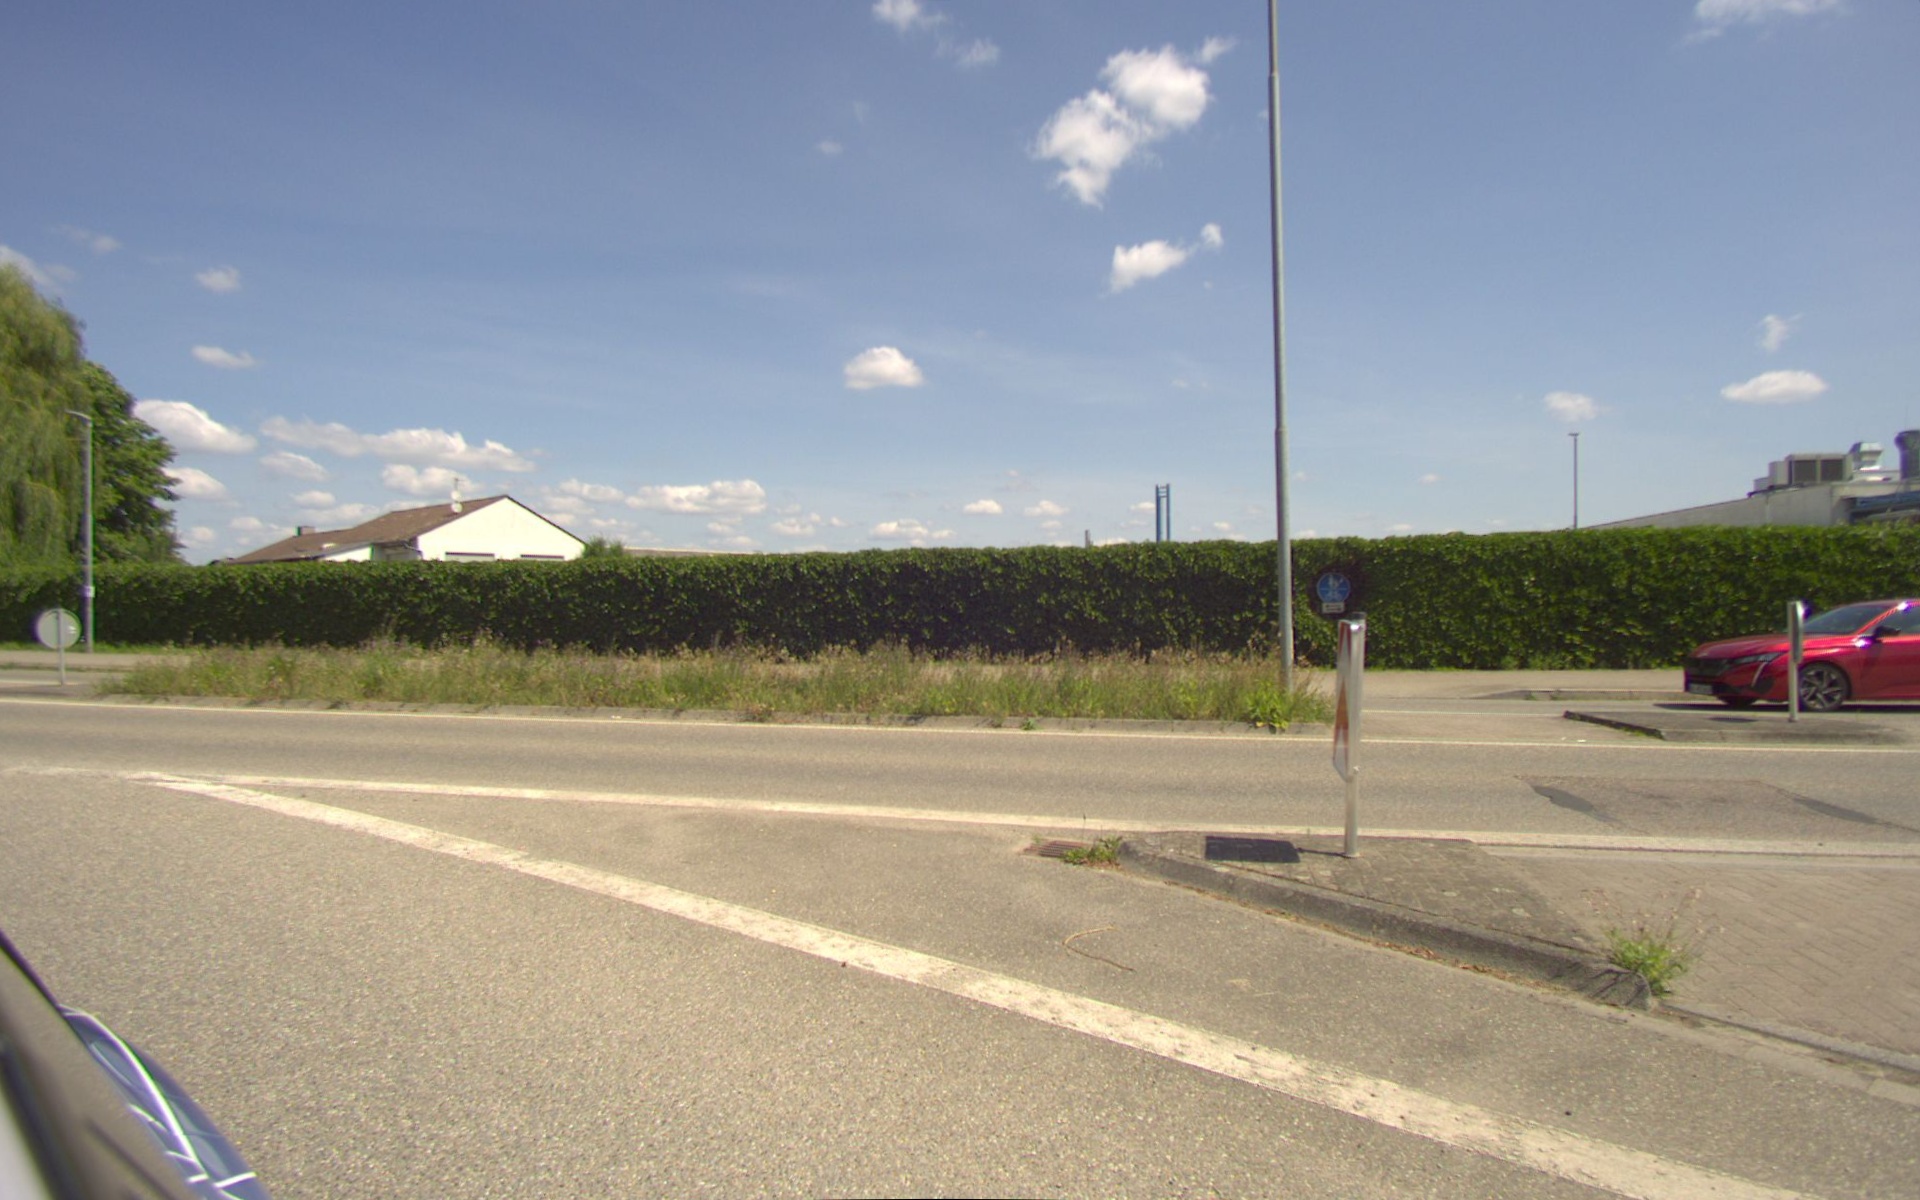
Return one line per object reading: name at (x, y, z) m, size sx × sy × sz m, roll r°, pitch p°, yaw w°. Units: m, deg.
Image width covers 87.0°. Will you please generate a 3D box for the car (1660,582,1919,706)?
car at (11.899, 0.541, 12.998) m, size 4.335 × 1.475 × 1.882 m, roll -1°, pitch -1°, yaw 8°
